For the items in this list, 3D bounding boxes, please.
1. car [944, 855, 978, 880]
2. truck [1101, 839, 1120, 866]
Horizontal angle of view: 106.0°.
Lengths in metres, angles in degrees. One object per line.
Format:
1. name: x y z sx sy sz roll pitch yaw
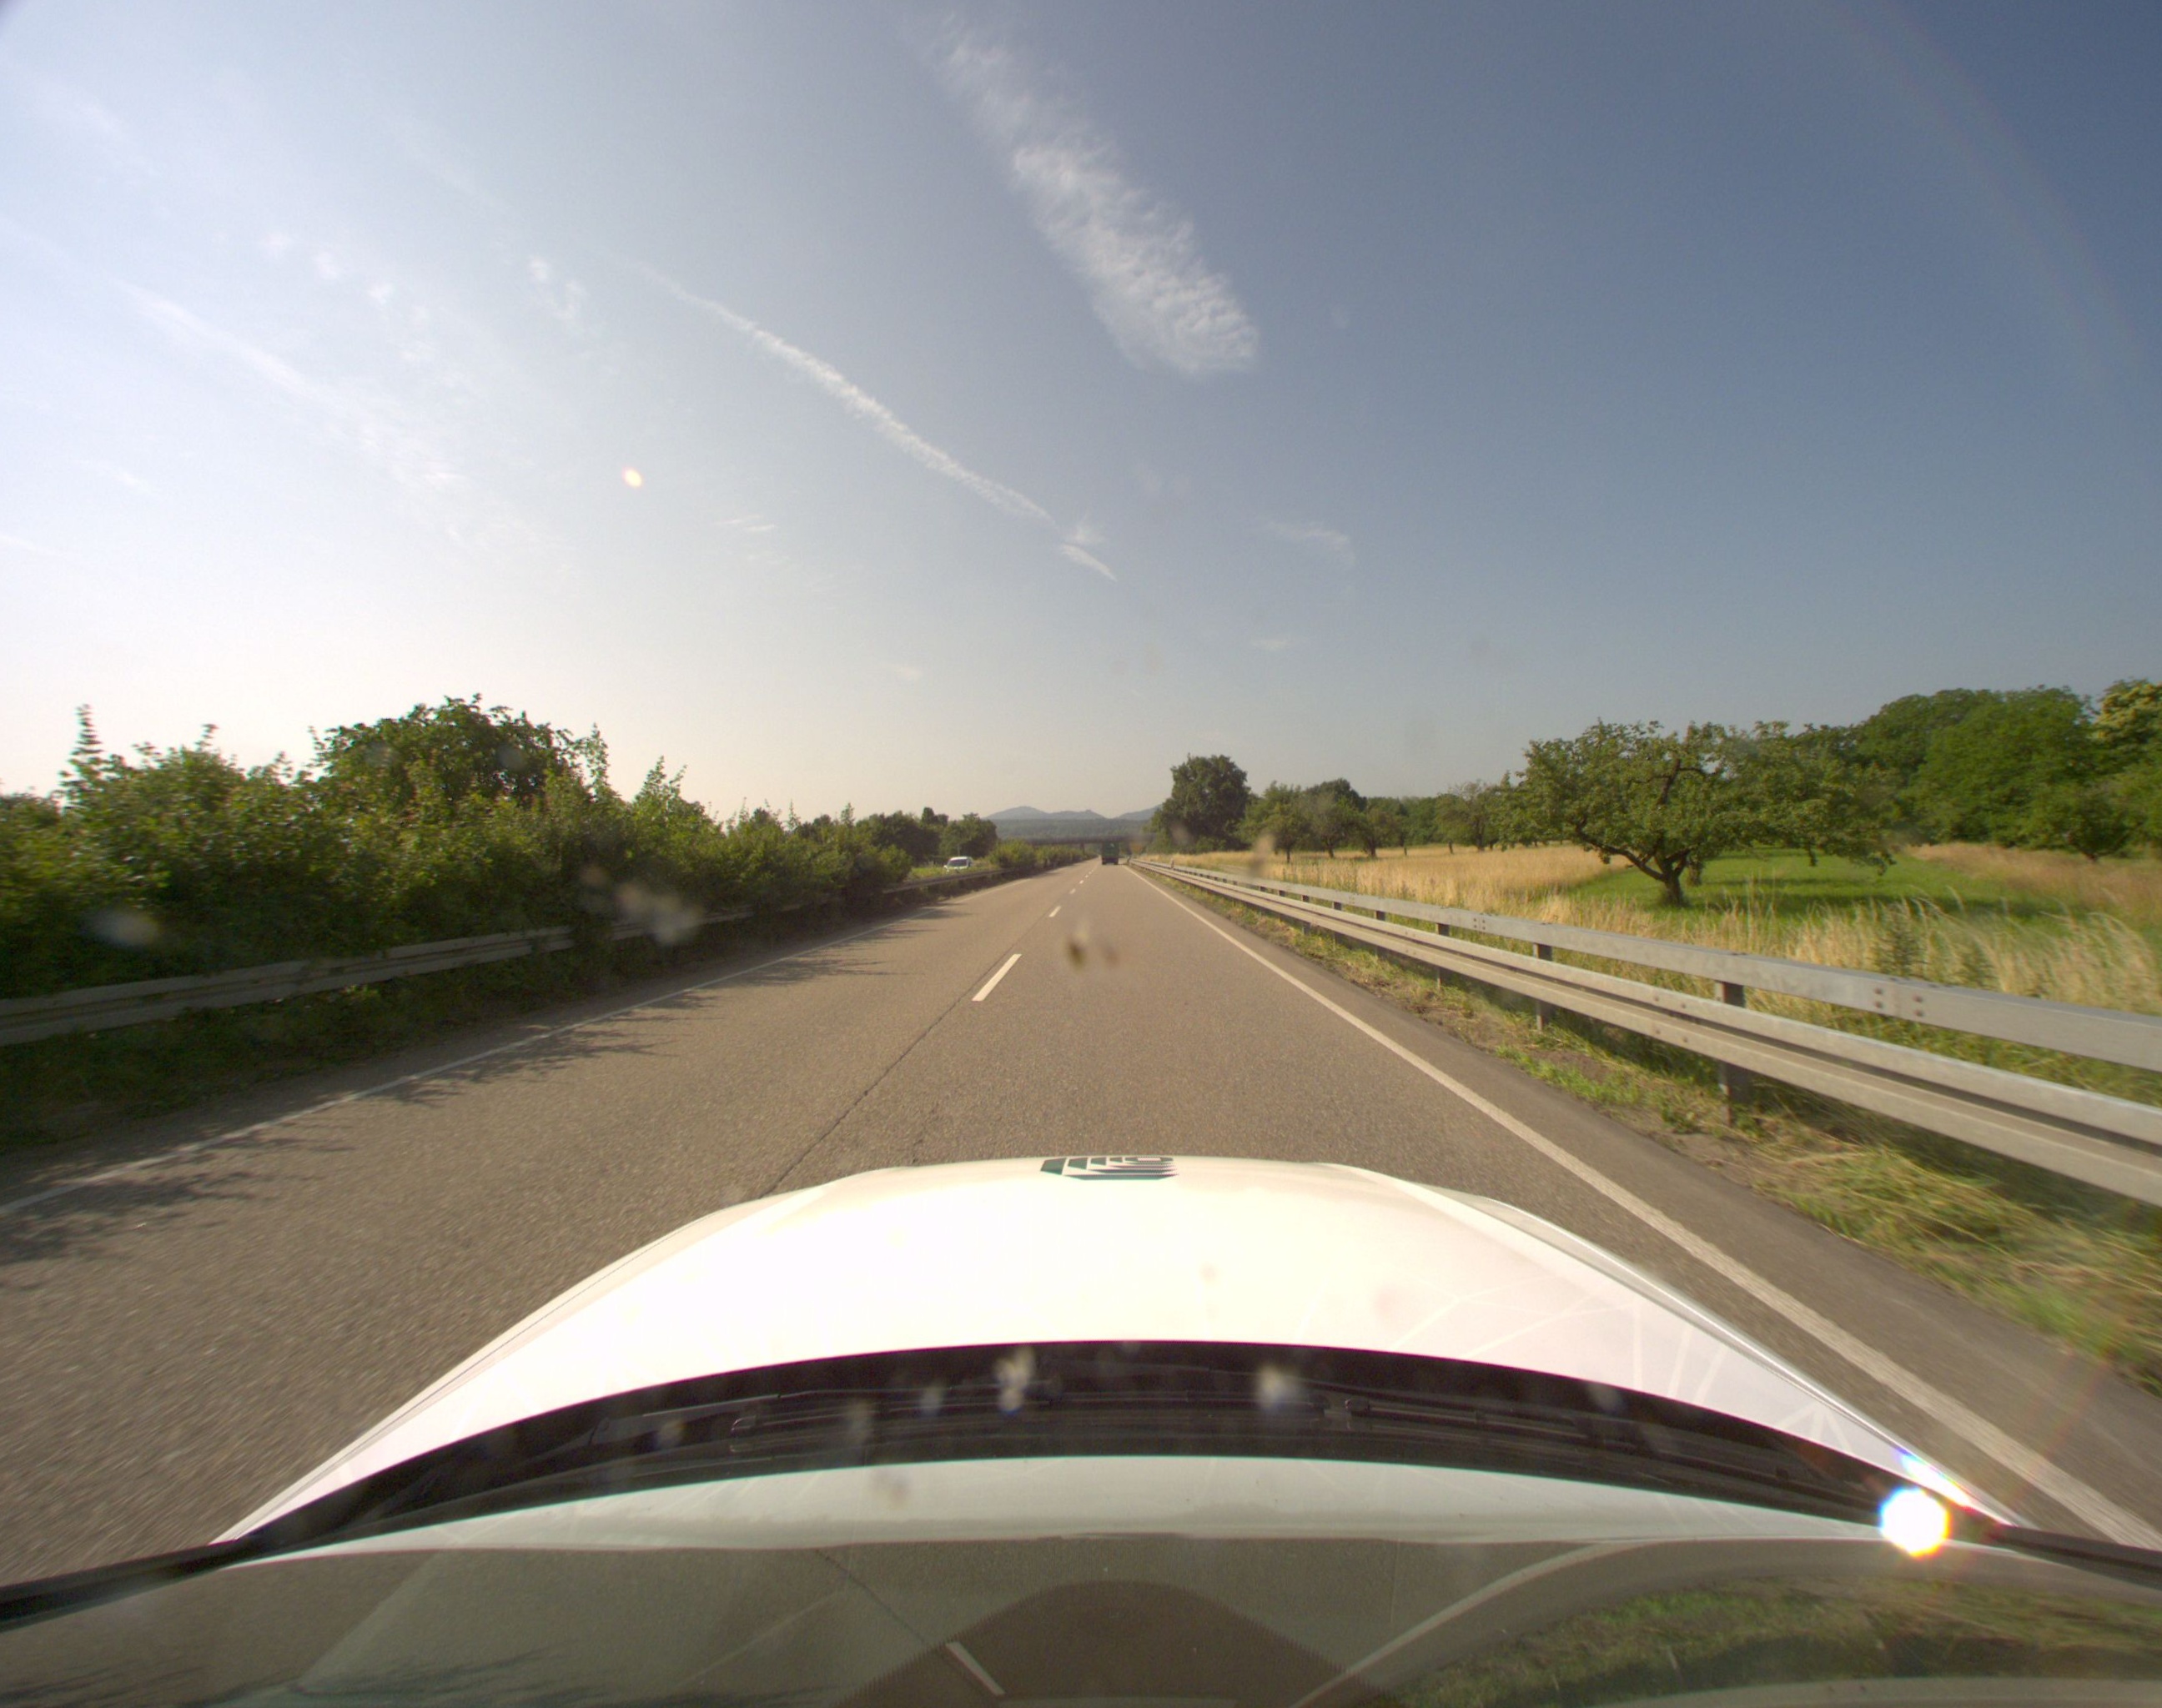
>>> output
1. car: -8.549 0.921 58.398 1.654 1.641 4.002 -1 0 2
2. truck: 4.574 -0.336 125.050 2.711 3.965 10.422 0 1 2
